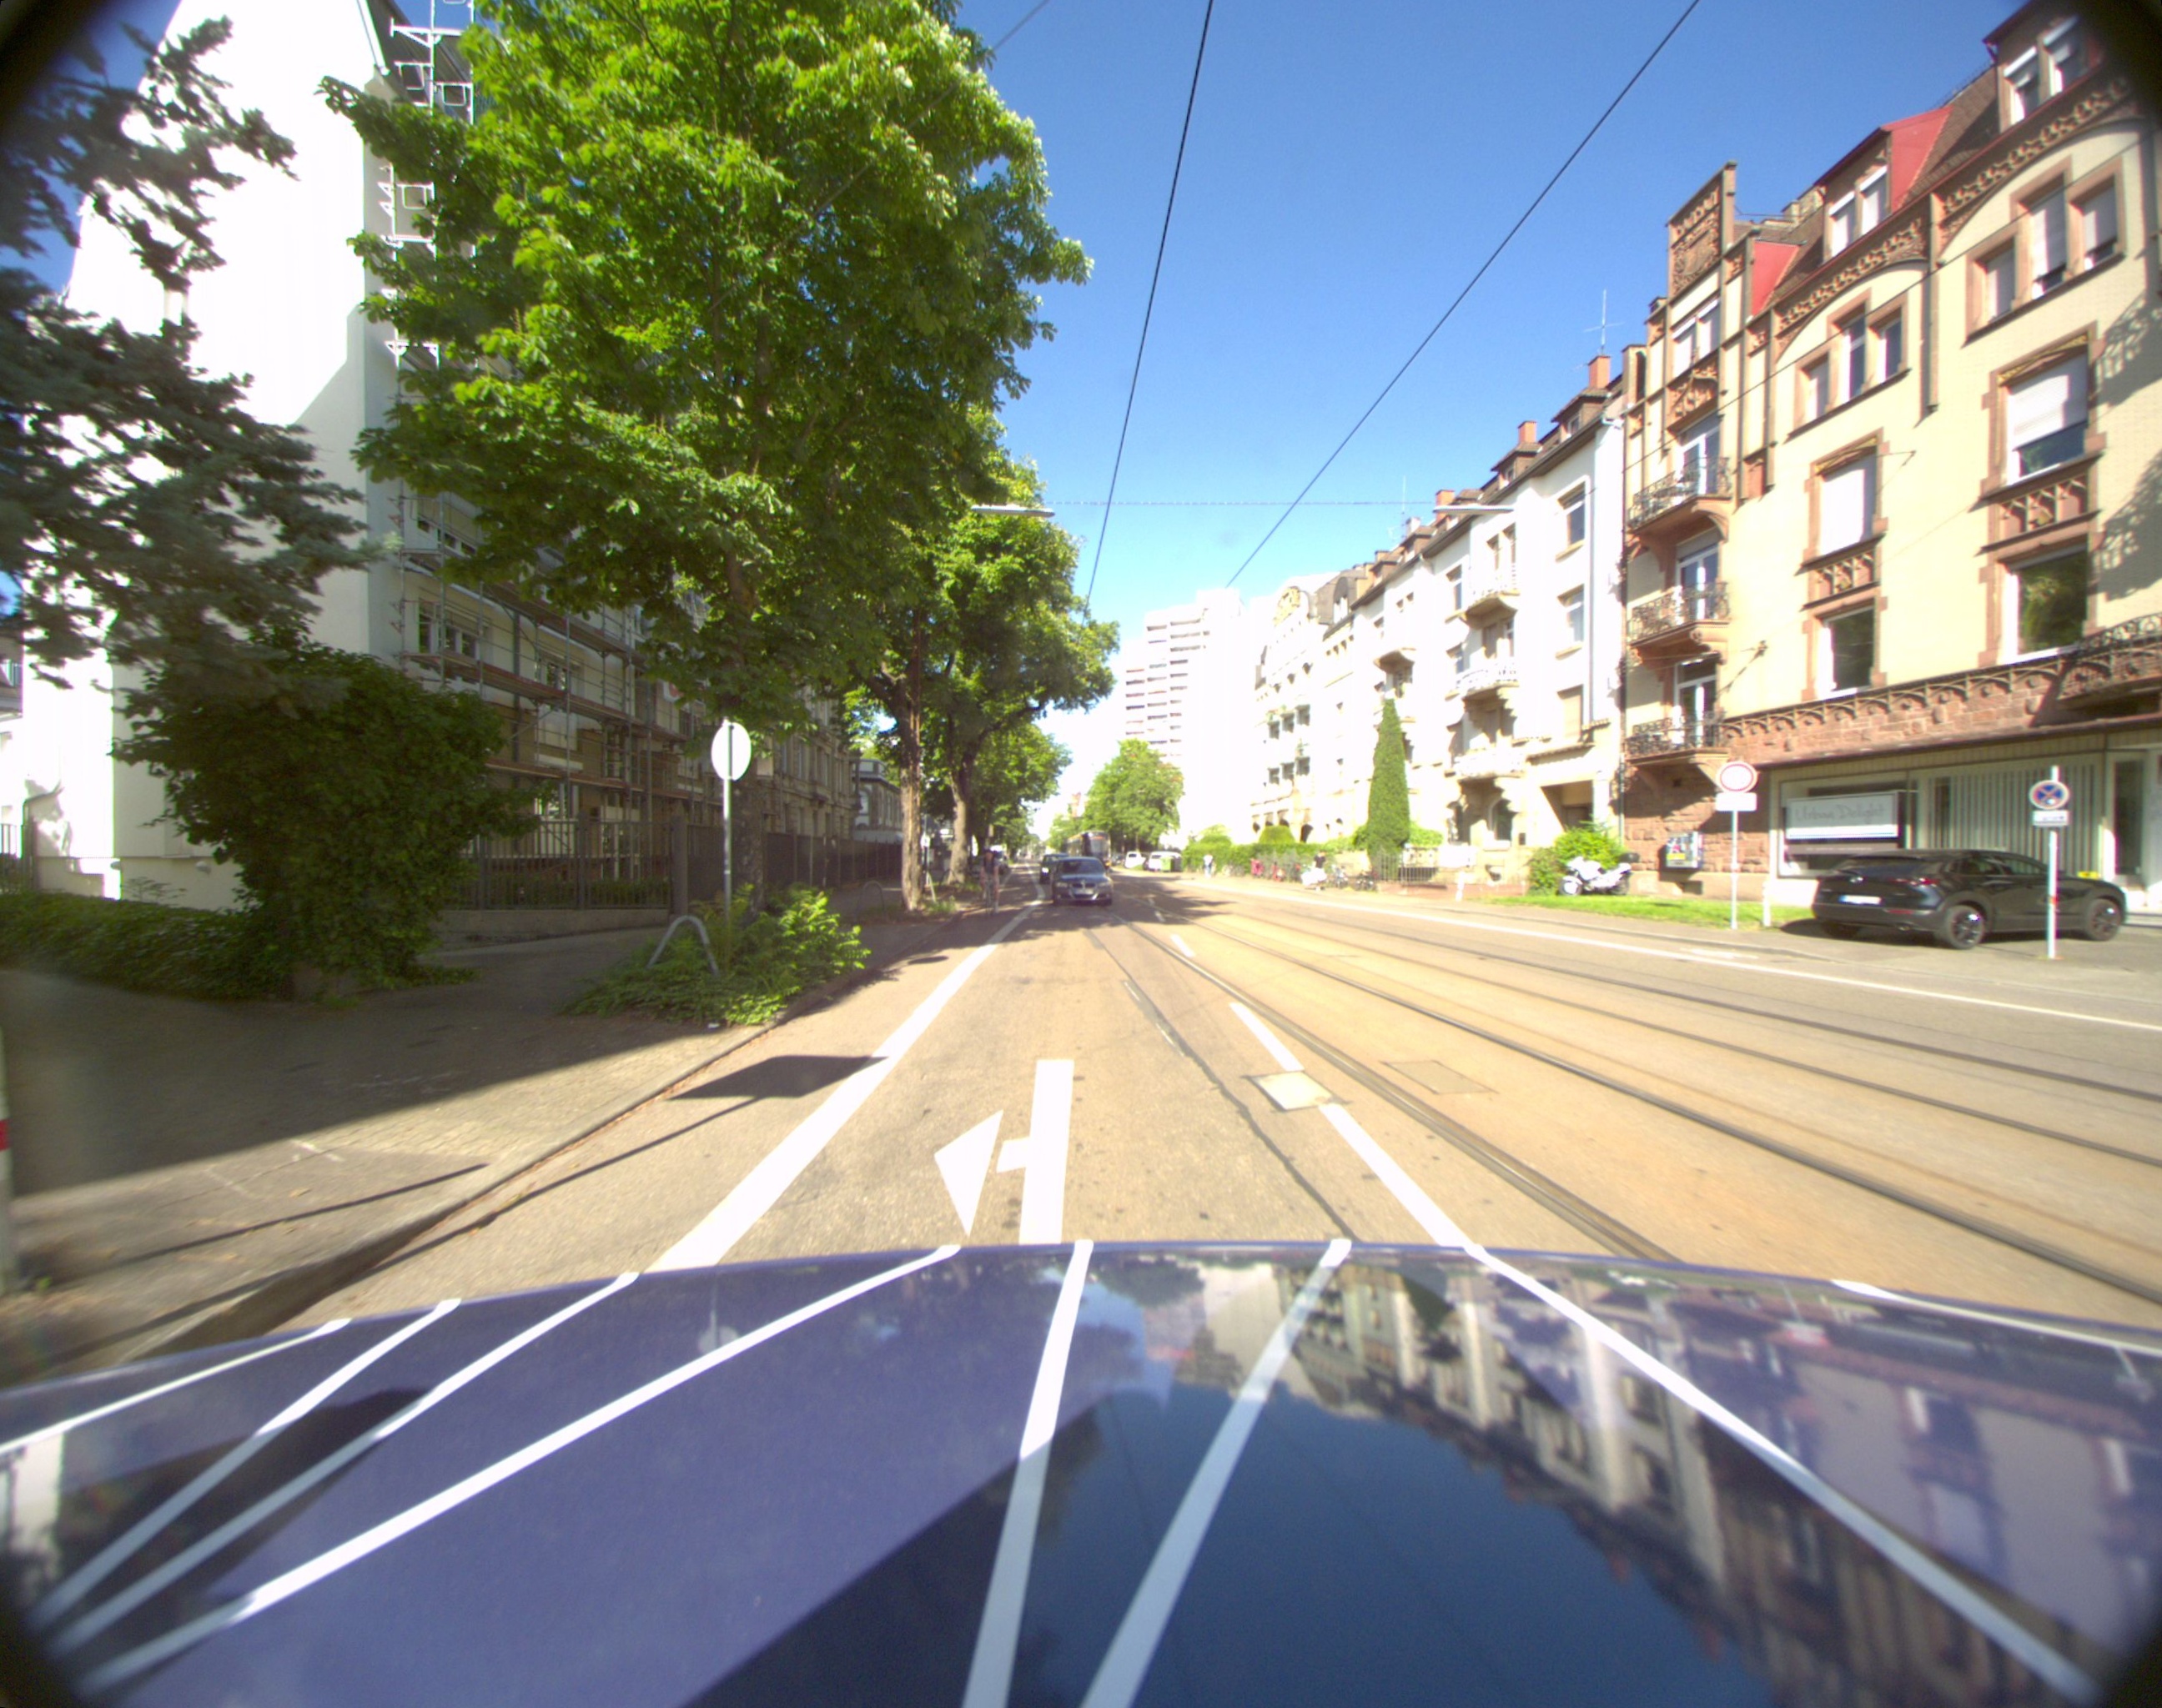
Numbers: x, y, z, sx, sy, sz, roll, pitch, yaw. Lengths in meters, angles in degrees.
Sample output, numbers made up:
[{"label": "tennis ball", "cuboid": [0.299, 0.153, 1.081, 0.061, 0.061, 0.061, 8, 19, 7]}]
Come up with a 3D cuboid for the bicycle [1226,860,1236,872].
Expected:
[{"label": "bicycle", "cuboid": [9.644, 0.767, 48.777, 0.339, 0.757, 1.263, -1, 1, -2]}]

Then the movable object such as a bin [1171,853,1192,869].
[{"label": "movable object such as a bin", "cuboid": [8.850, 0.618, 66.983, 1.501, 1.309, 2.095, -1, 1, -2]}]

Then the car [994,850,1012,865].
[{"label": "car", "cuboid": [-8.773, 0.390, 85.654, 1.867, 1.541, 4.099, 0, 1, -5]}]

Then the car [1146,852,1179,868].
[{"label": "car", "cuboid": [7.727, 0.552, 72.378, 2.758, 1.427, 1.457, -1, 1, -19]}]

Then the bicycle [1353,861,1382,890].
[{"label": "bicycle", "cuboid": [11.081, 0.806, 29.449, 0.405, 1.033, 1.748, -1, 1, -2]}]

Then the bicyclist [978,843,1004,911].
[{"label": "bicyclist", "cuboid": [-2.247, 0.568, 19.074, 0.532, 1.660, 0.878, -1, 2, -2]}]

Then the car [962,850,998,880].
[{"label": "car", "cuboid": [-5.851, 0.608, 44.272, 1.878, 1.534, 4.363, 2, 1, -5]}]

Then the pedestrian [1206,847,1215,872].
[{"label": "pedestrian", "cuboid": [8.468, 0.362, 49.697, 0.476, 1.619, 0.659, -1, 2, -2]}]

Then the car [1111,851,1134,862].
[{"label": "car", "cuboid": [5.589, 0.283, 102.581, 2.758, 1.417, 1.225, -1, 1, -19]}]

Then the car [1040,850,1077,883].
[{"label": "car", "cuboid": [-1.219, 0.603, 40.117, 1.829, 1.559, 3.998, -1, 1, -2]}]

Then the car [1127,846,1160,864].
[{"label": "car", "cuboid": [6.834, 0.116, 82.794, 1.917, 1.860, 3.450, 0, 2, 43]}]

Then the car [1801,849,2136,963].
[{"label": "car", "cuboid": [14.573, 0.776, 12.583, 4.000, 1.494, 1.770, -3, 2, -9]}]

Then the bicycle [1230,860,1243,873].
[{"label": "bicycle", "cuboid": [9.645, 0.759, 47.219, 0.405, 0.757, 1.581, -1, 1, -2]}]

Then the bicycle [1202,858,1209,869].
[{"label": "bicycle", "cuboid": [9.074, 0.694, 55.472, 0.297, 0.757, 1.263, -1, 1, -2]}]

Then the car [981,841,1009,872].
[{"label": "car", "cuboid": [-7.031, 0.155, 62.554, 2.133, 2.329, 5.801, 2, 1, -5]}]

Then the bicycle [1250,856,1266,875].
[{"label": "bicycle", "cuboid": [9.967, 0.623, 42.801, 0.405, 1.018, 1.815, -1, 1, -2]}]

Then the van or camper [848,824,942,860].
[{"label": "van or camper", "cuboid": [-13.922, -0.880, 56.782, 6.721, 2.612, 2.126, 0, 2, 21]}]

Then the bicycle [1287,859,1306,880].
[{"label": "bicycle", "cuboid": [10.457, 0.759, 36.973, 0.405, 0.937, 1.648, -1, 1, -2]}]

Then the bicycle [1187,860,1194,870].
[{"label": "bicycle", "cuboid": [8.703, 0.853, 60.215, 0.297, 0.757, 1.263, -1, 1, -2]}]

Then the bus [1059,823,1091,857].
[{"label": "bus", "cuboid": [-0.823, -1.629, 88.762, 2.868, 3.756, 11.490, -1, 1, -4]}]

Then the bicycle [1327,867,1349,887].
[{"label": "bicycle", "cuboid": [10.699, 0.939, 31.673, 0.318, 0.757, 1.651, -1, 1, -2]}]

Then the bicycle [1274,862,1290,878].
[{"label": "bicycle", "cuboid": [10.252, 0.815, 38.756, 0.318, 0.757, 1.542, -1, 1, -2]}]

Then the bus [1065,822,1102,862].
[{"label": "bus", "cuboid": [0.131, -1.229, 77.526, 2.868, 3.756, 11.176, -1, 1, -4]}]

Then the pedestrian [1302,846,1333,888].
[{"label": "pedestrian", "cuboid": [9.646, 0.527, 30.978, 0.869, 1.619, 0.870, -5, 2, -2]}]

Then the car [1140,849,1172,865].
[{"label": "car", "cuboid": [7.465, 0.287, 75.703, 2.758, 1.427, 1.457, -1, 1, -19]}]

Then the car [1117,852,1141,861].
[{"label": "car", "cuboid": [6.042, 0.287, 95.419, 2.758, 1.083, 1.225, -1, 1, -19]}]

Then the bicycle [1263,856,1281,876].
[{"label": "bicycle", "cuboid": [10.176, 0.643, 40.507, 0.405, 1.018, 1.815, -1, 1, -2]}]

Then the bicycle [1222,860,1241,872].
[{"label": "bicycle", "cuboid": [10.284, 0.806, 51.934, 1.262, 0.789, 0.297, -1, 2, -2]}]

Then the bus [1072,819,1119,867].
[{"label": "bus", "cuboid": [1.081, -0.995, 66.737, 2.858, 3.755, 12.189, -1, 1, -4]}]

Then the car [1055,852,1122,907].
[{"label": "car", "cuboid": [0.143, 0.702, 23.207, 1.870, 1.426, 3.998, -1, 1, -2]}]

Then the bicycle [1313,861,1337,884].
[{"label": "bicycle", "cuboid": [10.768, 0.786, 33.573, 0.405, 0.937, 1.748, -1, 1, -2]}]

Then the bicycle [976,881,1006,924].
[{"label": "bicycle", "cuboid": [-2.236, 1.185, 19.049, 0.535, 0.917, 2.056, -1, 1, -1]}]

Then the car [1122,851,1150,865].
[{"label": "car", "cuboid": [6.232, 0.452, 86.201, 2.758, 1.427, 1.457, -1, 1, -19]}]

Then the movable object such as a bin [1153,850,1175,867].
[{"label": "movable object such as a bin", "cuboid": [7.186, 0.398, 65.924, 1.513, 1.424, 2.095, -1, 1, -2]}]

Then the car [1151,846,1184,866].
[{"label": "car", "cuboid": [7.917, 0.213, 69.375, 1.456, 1.763, 3.194, 0, -1, 42]}]

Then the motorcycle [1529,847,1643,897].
[{"label": "motorcycle", "cuboid": [15.510, 0.532, 23.369, 3.093, 1.448, 0.823, -1, 2, -5]}]
